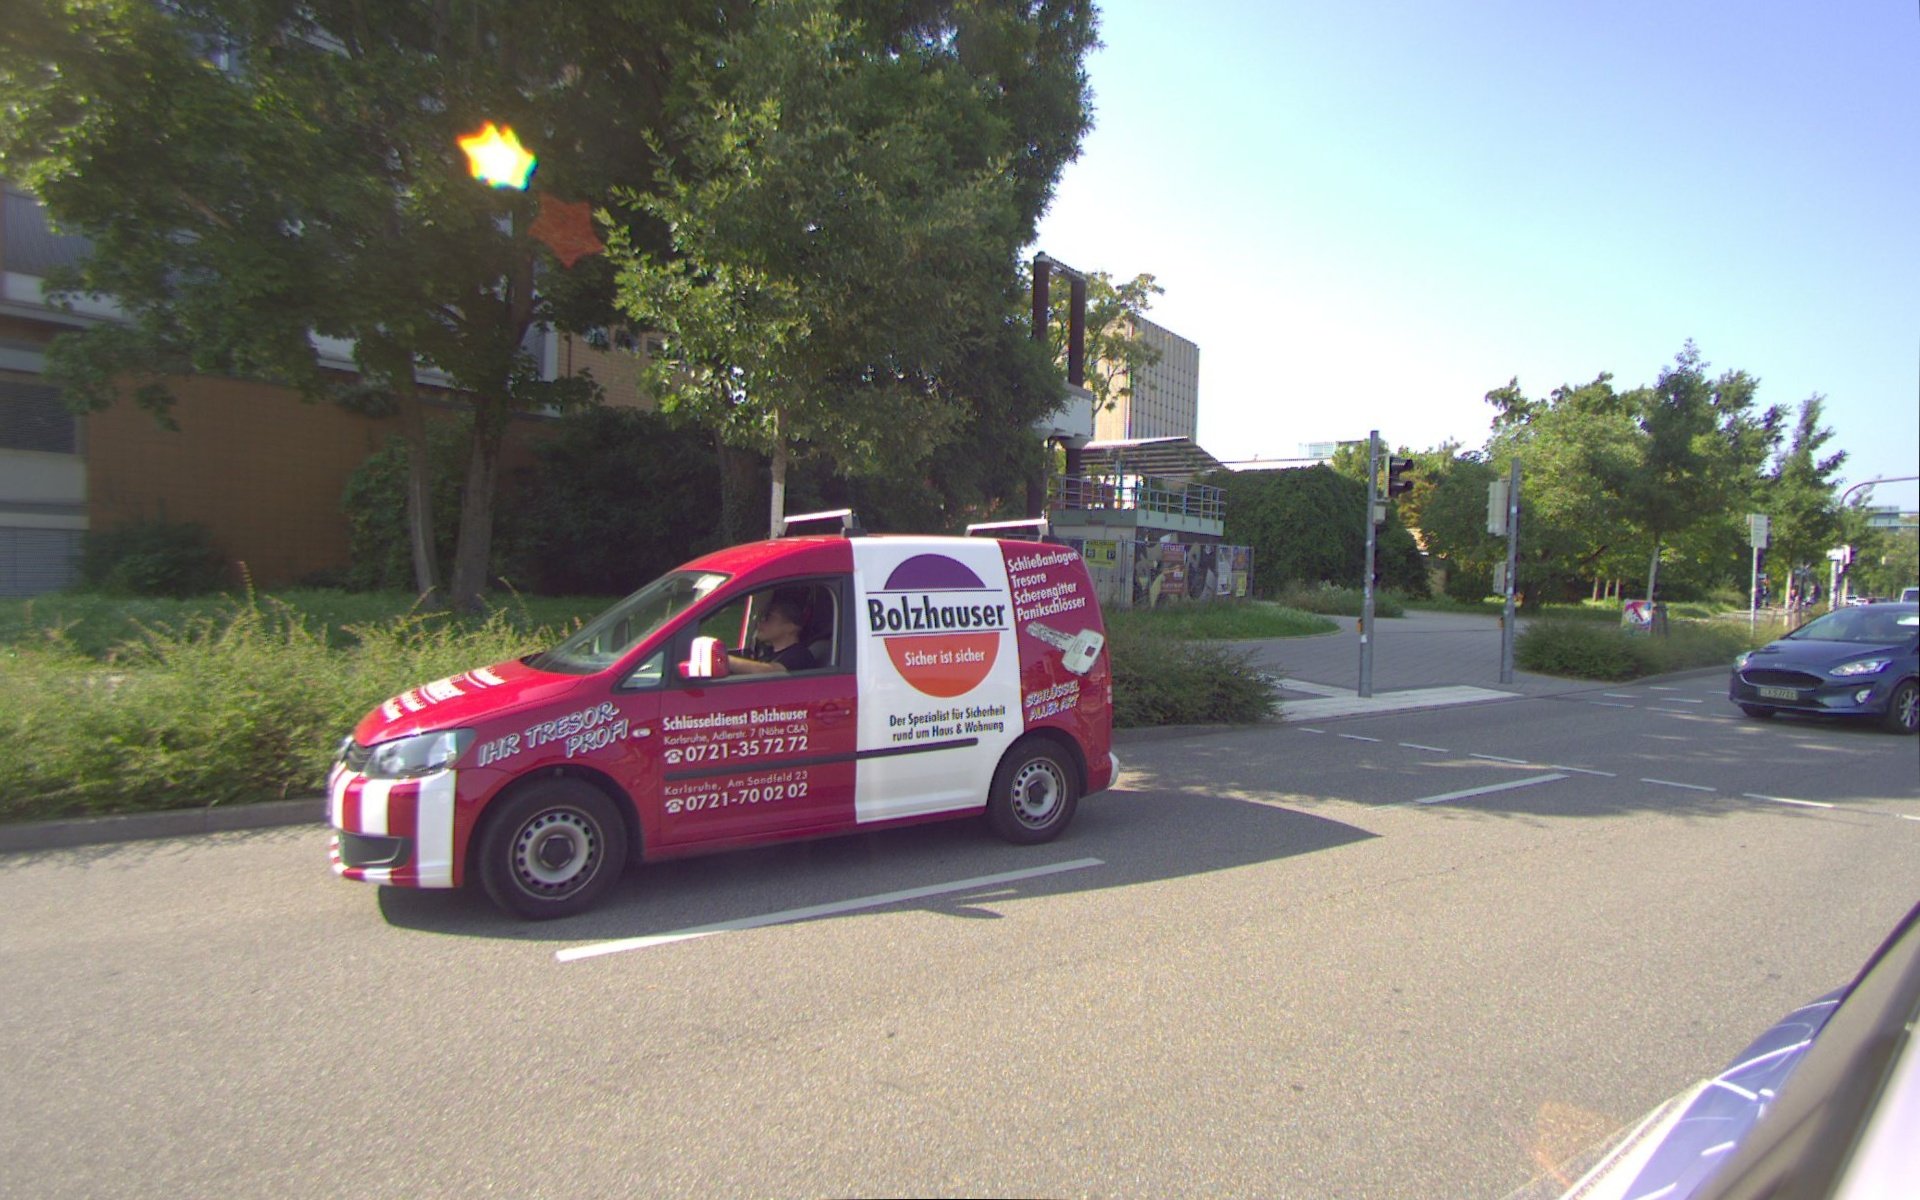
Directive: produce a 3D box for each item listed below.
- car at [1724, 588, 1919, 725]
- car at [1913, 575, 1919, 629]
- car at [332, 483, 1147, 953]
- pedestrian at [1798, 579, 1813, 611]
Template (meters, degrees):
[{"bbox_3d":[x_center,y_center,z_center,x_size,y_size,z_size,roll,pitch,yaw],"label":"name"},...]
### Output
[{"bbox_3d":[11.592,0.616,12.171,4.230,1.445,1.644,1,1,-17],"label":"car"},{"bbox_3d":[36.233,0.081,37.066,1.842,1.898,4.894,2,2,44],"label":"car"},{"bbox_3d":[-1.109,0.442,5.800,4.193,1.842,1.739,0,1,-31],"label":"car"},{"bbox_3d":[49.132,-0.300,58.800,0.621,1.868,0.632,3,2,40],"label":"pedestrian"}]
